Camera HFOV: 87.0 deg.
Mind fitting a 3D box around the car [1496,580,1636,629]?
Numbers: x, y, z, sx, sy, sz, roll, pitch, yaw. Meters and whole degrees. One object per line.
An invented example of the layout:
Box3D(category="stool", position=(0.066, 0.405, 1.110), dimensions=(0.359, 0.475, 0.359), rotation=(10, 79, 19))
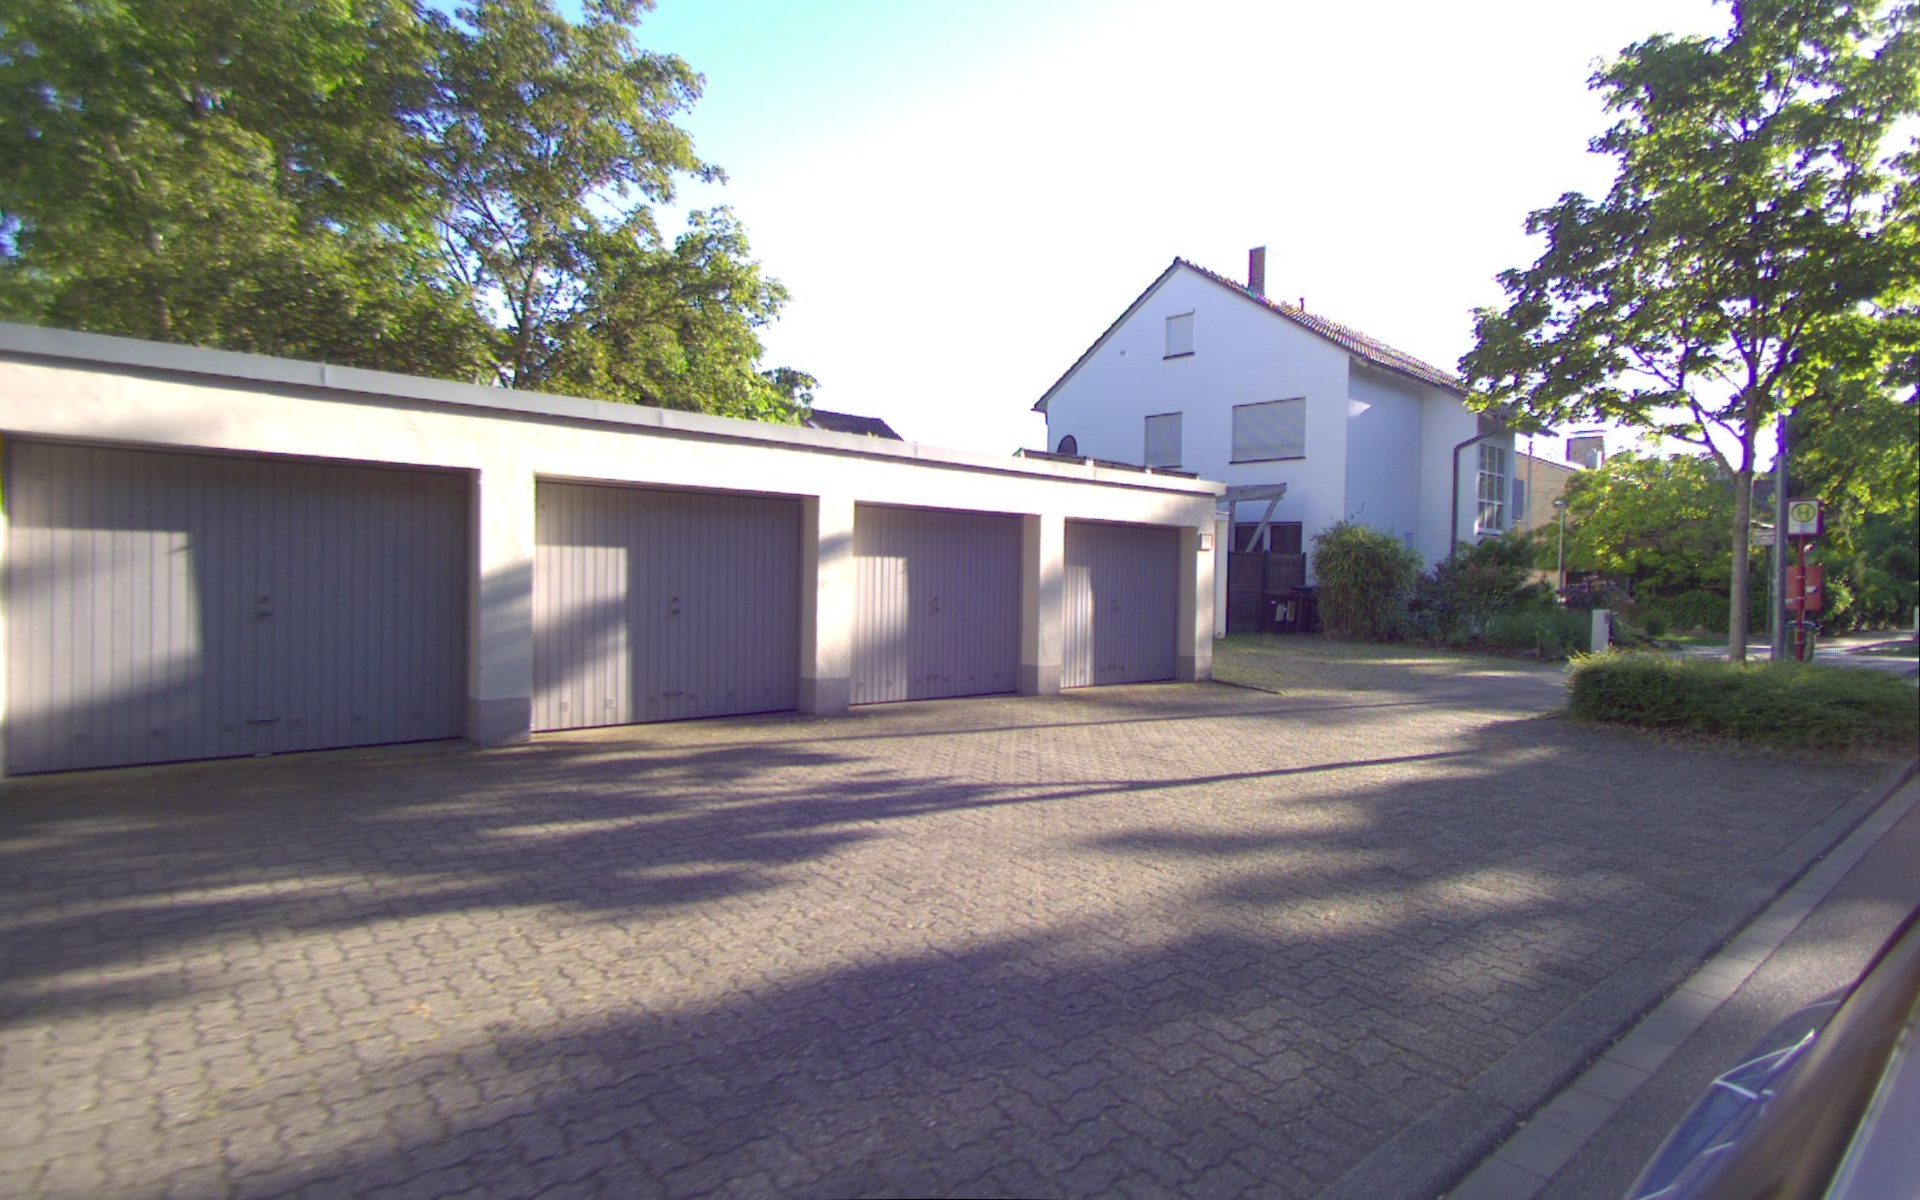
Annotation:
Box3D(category="car", position=(20.323, 0.116, 34.022), dimensions=(3.733, 1.520, 1.664), rotation=(2, 1, 45))
